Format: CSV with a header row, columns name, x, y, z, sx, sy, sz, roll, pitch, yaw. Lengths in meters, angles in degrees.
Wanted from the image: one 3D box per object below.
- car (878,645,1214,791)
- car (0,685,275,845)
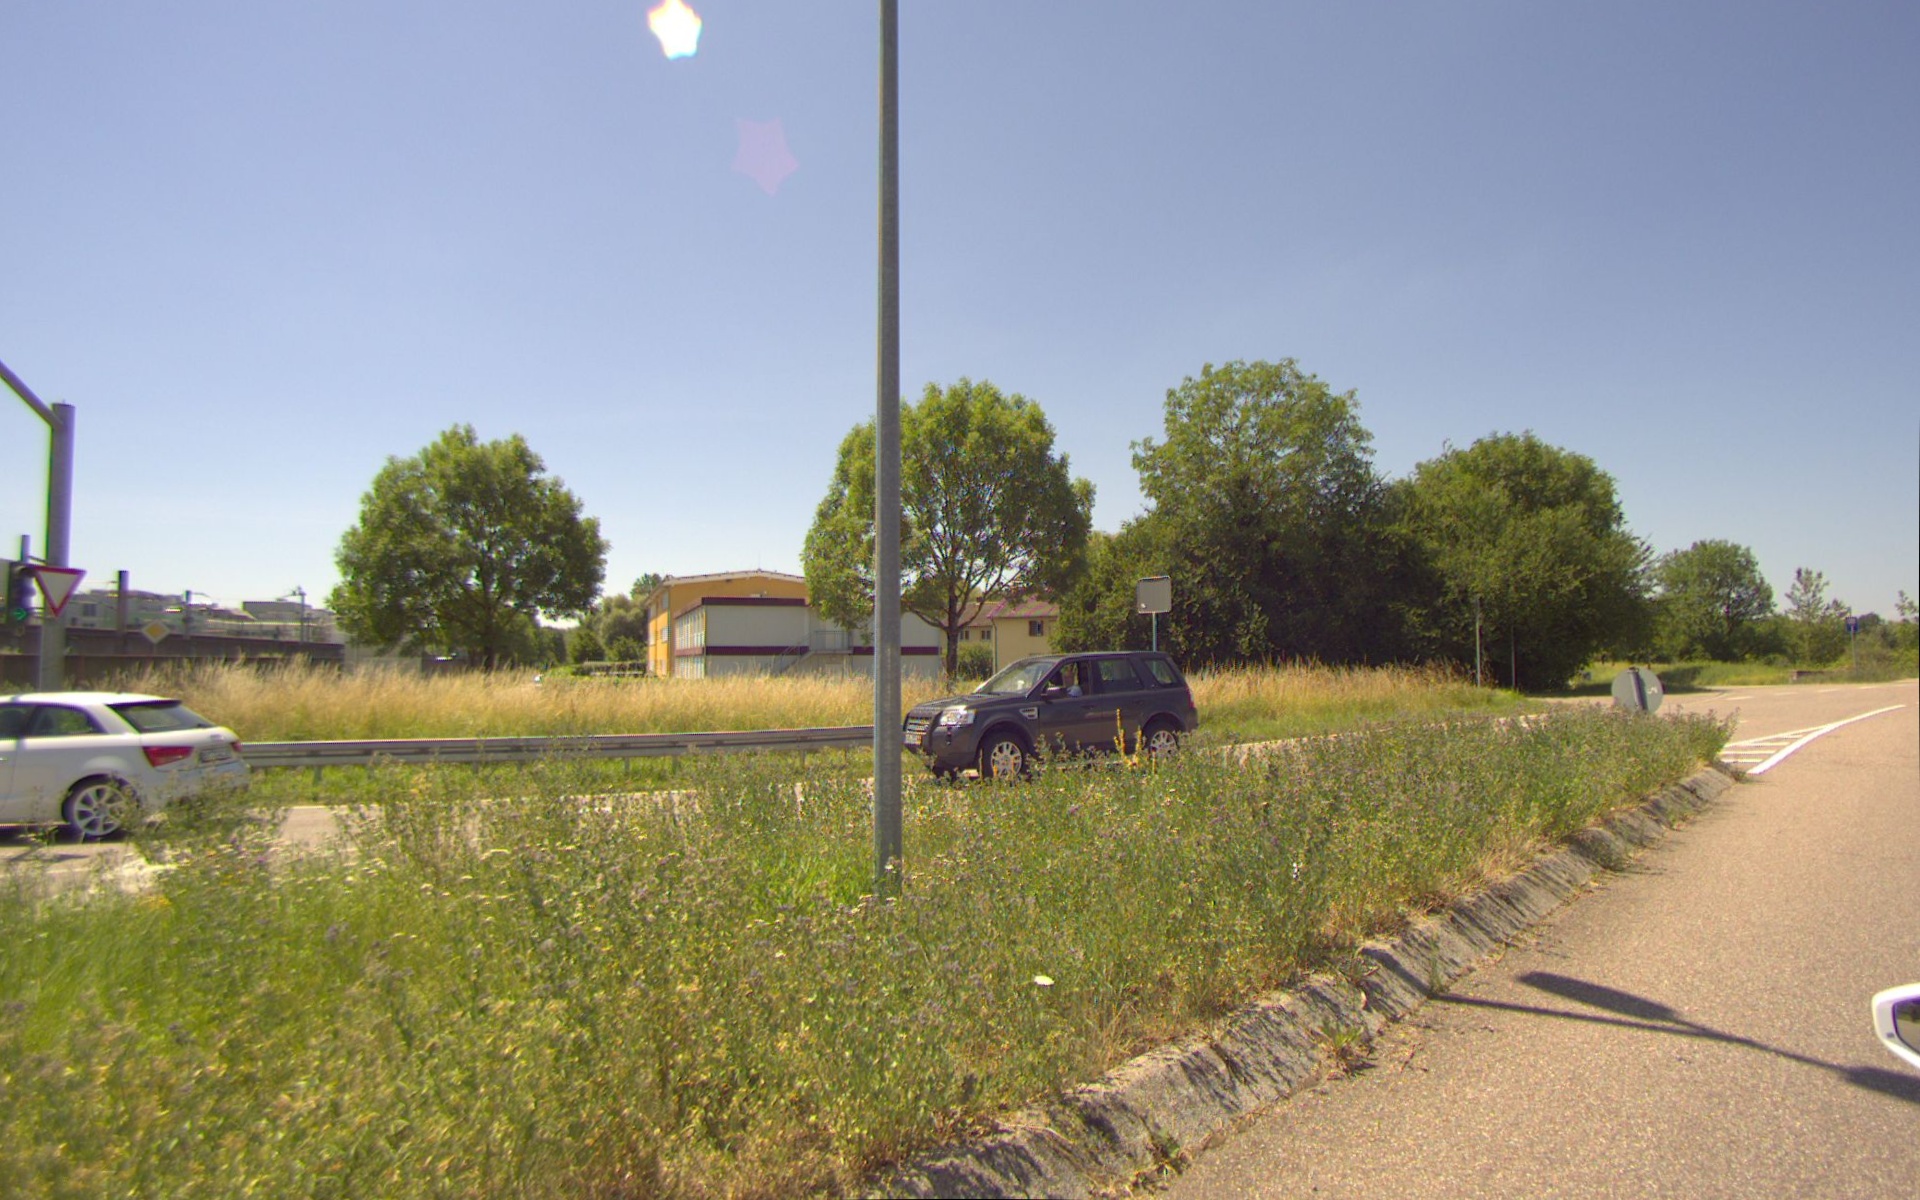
name,x,y,z,sx,sy,sz,roll,pitch,yaw
car,1.262,1.591,14.381,4.430,1.744,1.986,1,-5,-30
car,-9.601,1.656,10.336,3.790,1.427,1.730,0,-3,-10
